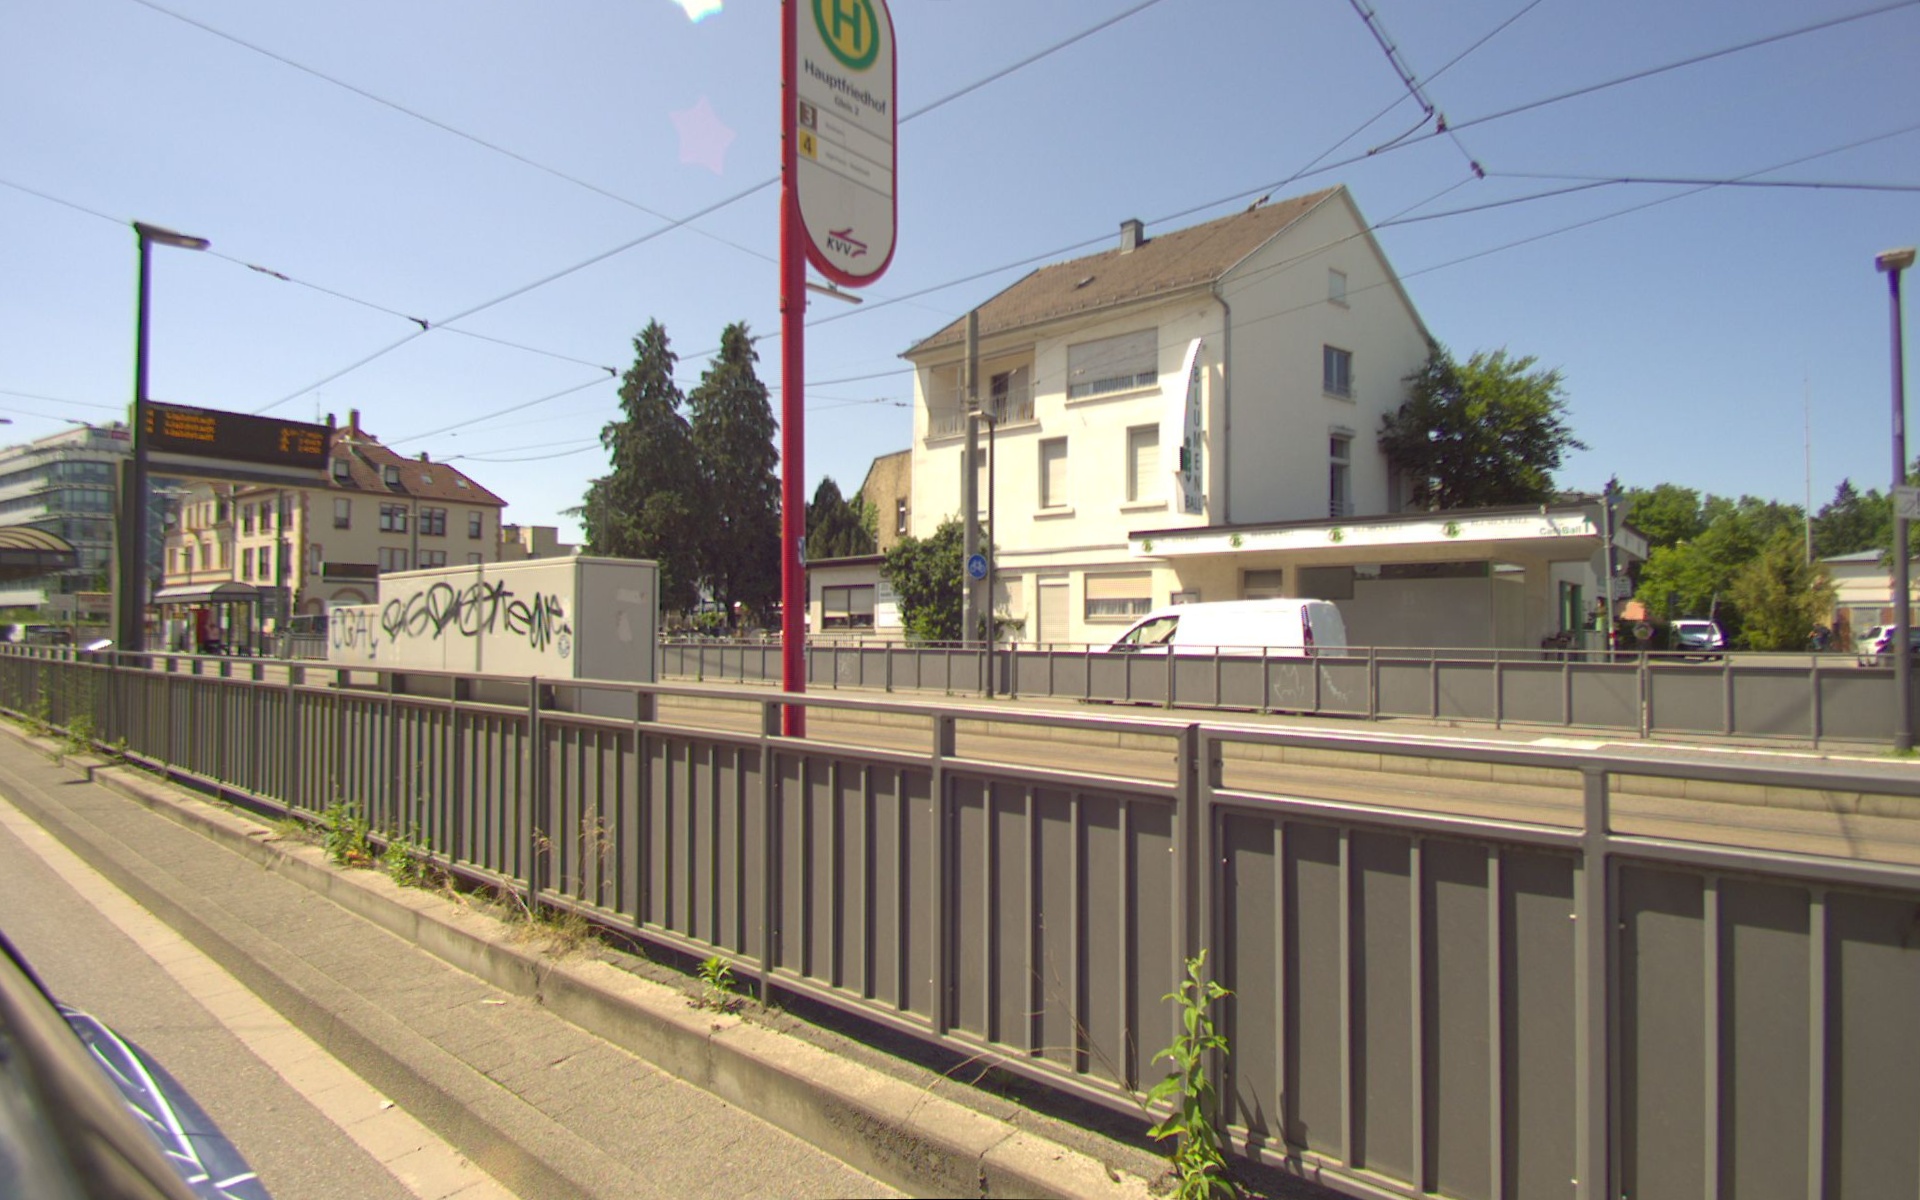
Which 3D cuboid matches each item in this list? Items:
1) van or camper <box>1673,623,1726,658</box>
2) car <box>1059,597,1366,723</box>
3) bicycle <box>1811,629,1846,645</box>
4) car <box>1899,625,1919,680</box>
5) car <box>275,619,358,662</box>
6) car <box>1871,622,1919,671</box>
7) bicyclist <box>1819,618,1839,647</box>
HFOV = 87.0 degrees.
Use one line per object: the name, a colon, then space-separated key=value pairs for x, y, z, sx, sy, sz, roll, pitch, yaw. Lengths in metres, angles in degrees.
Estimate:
van or camper: x=34.848 y=1.878 z=47.769 sx=1.686 sy=1.578 sz=3.784 roll=-1 pitch=-2 yaw=32
car: x=4.099 y=0.951 z=16.958 sx=4.697 sy=1.831 sz=1.836 roll=-2 pitch=-3 yaw=42
bicycle: x=43.667 y=1.850 z=50.905 sx=0.614 sy=0.793 sz=2.178 roll=-1 pitch=-2 yaw=21
car: x=25.776 y=1.391 z=26.488 sx=1.644 sy=1.381 sz=3.760 roll=-2 pitch=-3 yaw=42
car: x=-29.036 y=1.790 z=45.638 sx=3.996 sy=1.852 sz=1.974 roll=-2 pitch=-2 yaw=39
car: x=29.545 y=1.444 z=31.497 sx=1.644 sy=1.457 sz=3.761 roll=-2 pitch=-3 yaw=41
bicyclist: x=43.654 y=1.614 z=50.847 sx=0.619 sy=1.446 sz=0.525 roll=-1 pitch=-2 yaw=23
